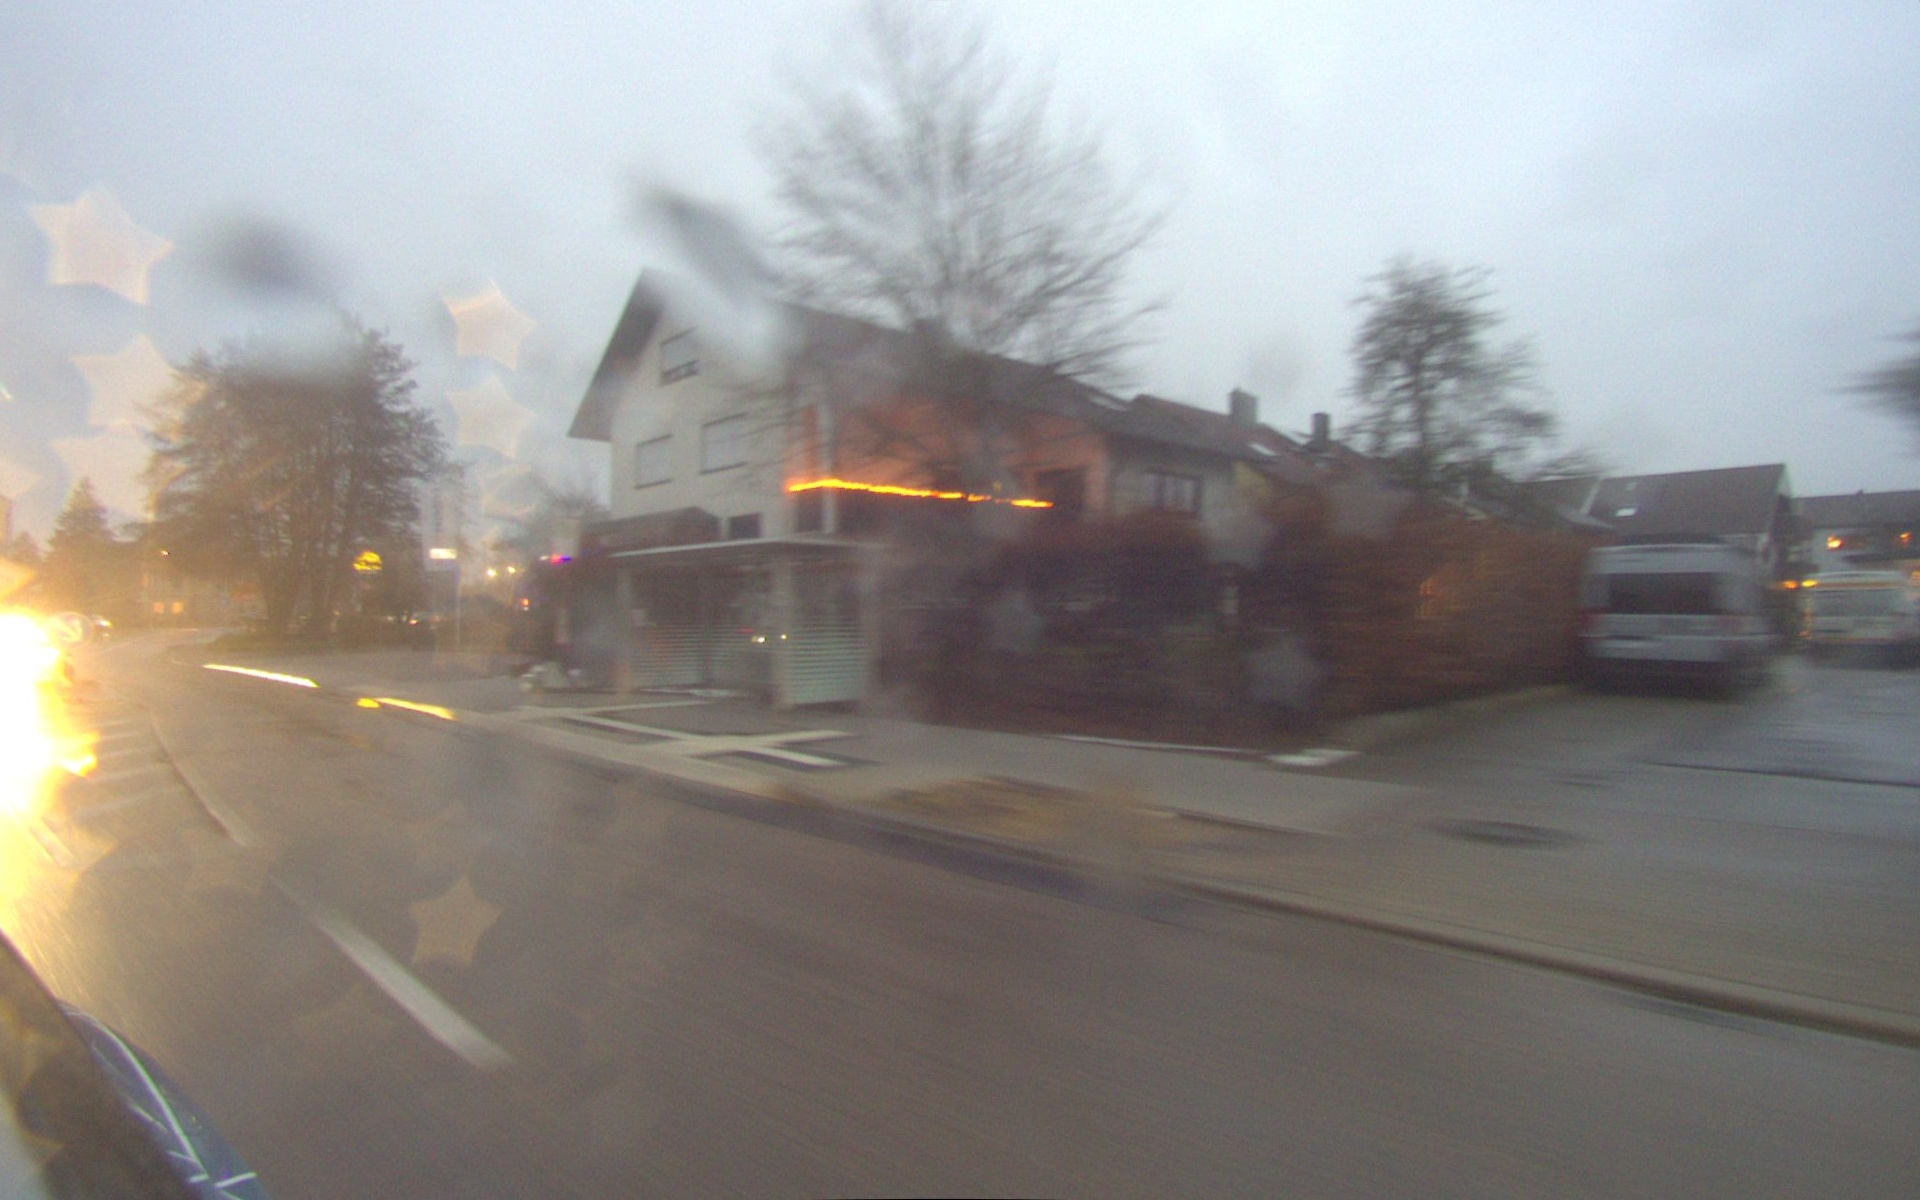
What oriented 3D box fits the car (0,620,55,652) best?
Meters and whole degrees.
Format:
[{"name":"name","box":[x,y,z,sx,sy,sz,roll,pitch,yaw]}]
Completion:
[{"name":"car","box":[-45.310,1.719,48.995,1.968,1.484,4.008,-1,-1,-39]}]

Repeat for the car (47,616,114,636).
[{"name":"car","box":[-80.978,2.397,93.233,4.345,1.736,1.783,0,-1,-19]}]

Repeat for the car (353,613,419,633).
[{"name":"car","box":[-50.476,1.986,88.994,4.713,1.724,2.035,0,-1,-43]}]

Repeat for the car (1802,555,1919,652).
[{"name":"car","box":[24.623,0.056,27.217,5.273,2.359,2.321,-1,0,-42]}]

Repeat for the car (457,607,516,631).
[{"name":"car","box":[-49.563,2.017,105.988,5.122,2.300,2.221,2,-3,-42]}]

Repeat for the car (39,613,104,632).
[{"name":"car","box":[-78.374,2.012,89.324,4.116,1.452,1.801,-2,-1,-37]}]

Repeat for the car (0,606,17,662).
[{"name":"car","box":[-31.574,1.120,32.435,1.871,1.712,4.245,-3,2,-43]}]

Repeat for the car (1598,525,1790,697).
[{"name":"car","box":[13.007,0.148,17.777,2.001,2.580,5.278,-1,0,44]}]

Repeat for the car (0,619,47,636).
[{"name":"car","box":[-86.236,2.516,92.348,3.977,1.506,1.780,-1,-1,-9]}]
